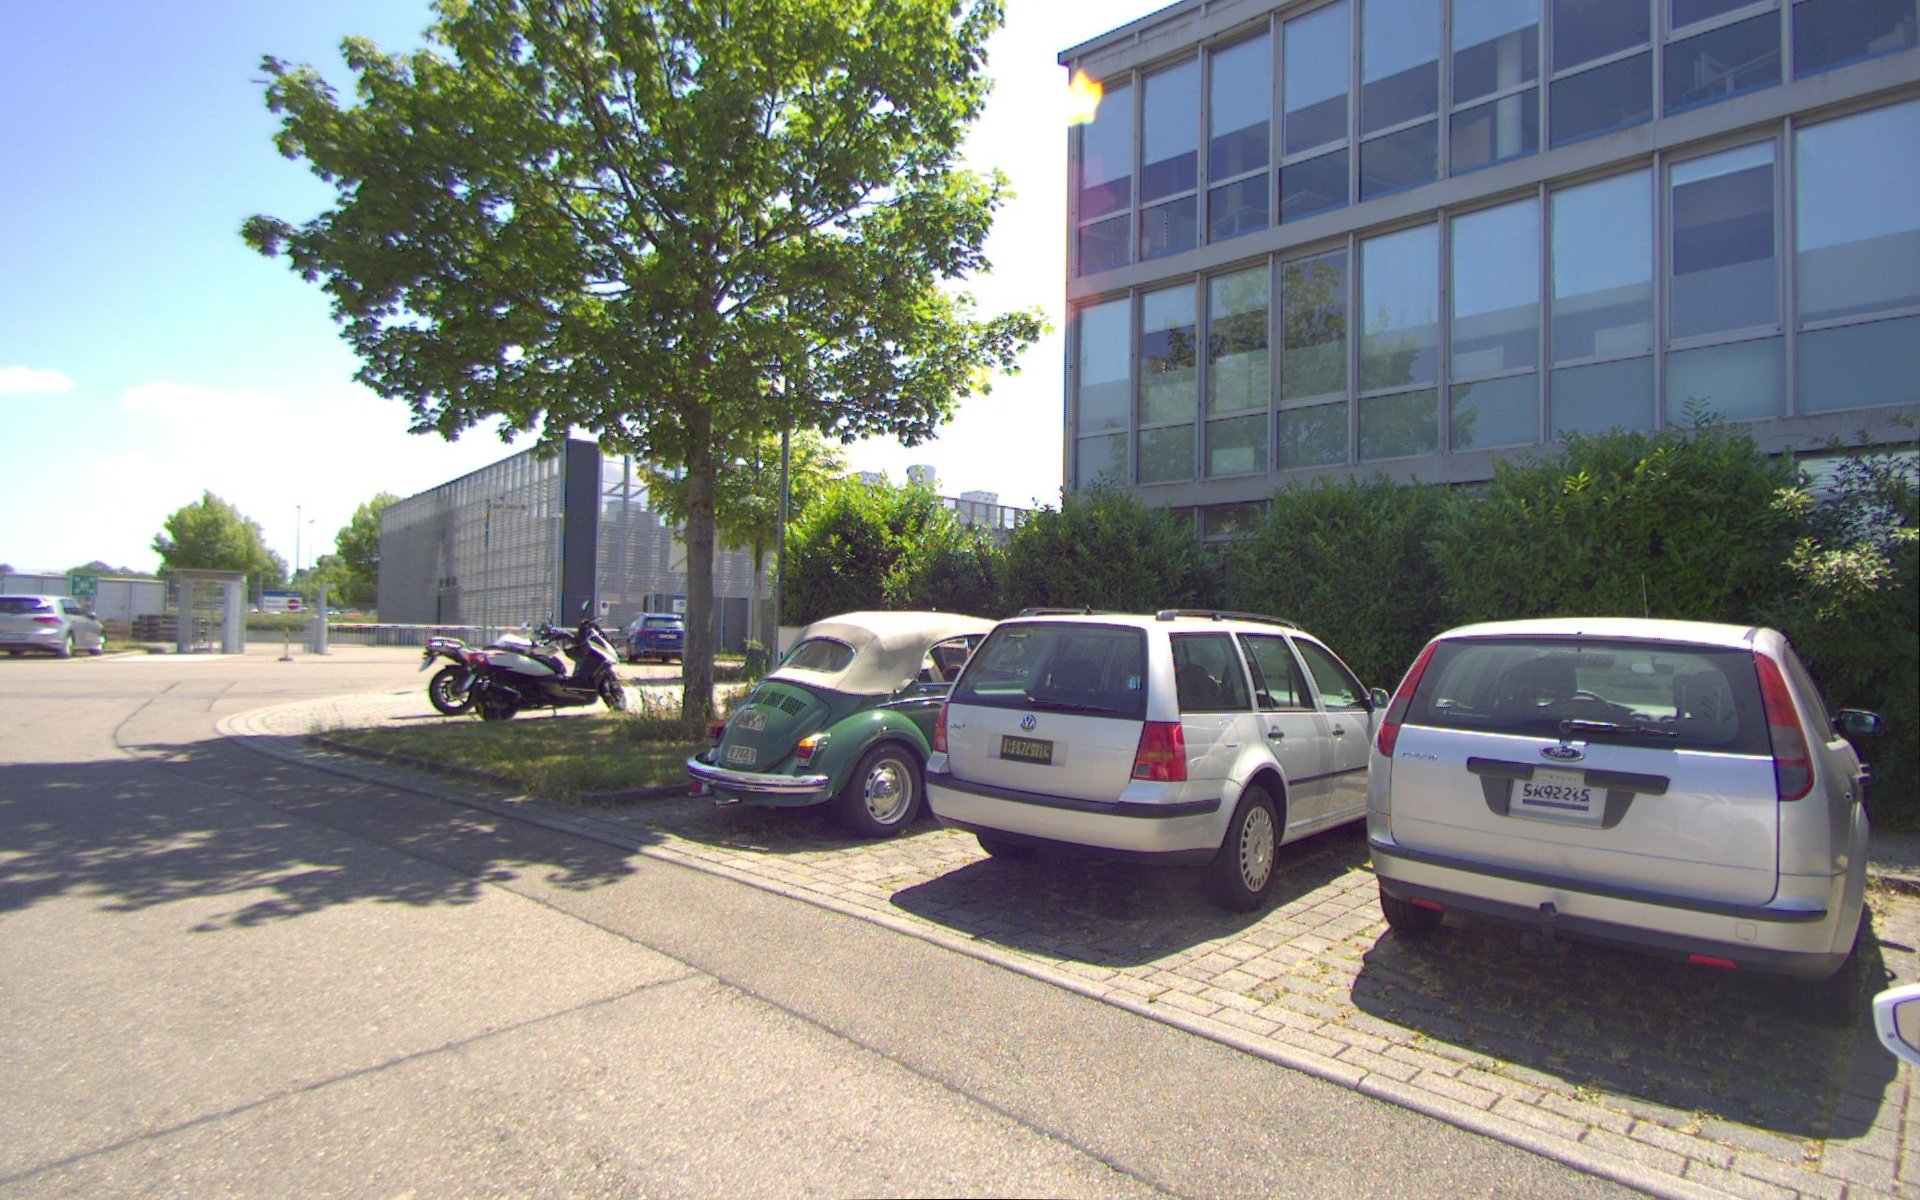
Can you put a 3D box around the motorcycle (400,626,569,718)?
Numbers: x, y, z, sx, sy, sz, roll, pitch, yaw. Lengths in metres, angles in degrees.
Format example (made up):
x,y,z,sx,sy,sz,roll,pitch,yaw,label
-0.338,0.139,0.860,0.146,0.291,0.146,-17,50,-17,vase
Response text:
x,y,z,sx,sy,sz,roll,pitch,yaw,label
-6.226,0.916,13.258,0.477,1.123,1.981,1,-1,39,motorcycle

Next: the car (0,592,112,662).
x,y,z,sx,sy,sz,roll,pitch,yaw,label
-21.921,0.614,24.016,1.632,1.542,3.971,2,-1,-28,car

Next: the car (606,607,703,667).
x,y,z,sx,sy,sz,roll,pitch,yaw,label
-9.046,1.055,29.543,1.975,1.616,3.970,2,-1,-28,car

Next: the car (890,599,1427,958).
x,y,z,sx,sy,sz,roll,pitch,yaw,label
1.500,0.820,6.256,1.628,1.498,3.874,1,-2,40,car

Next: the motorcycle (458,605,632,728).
x,y,z,sx,sy,sz,roll,pitch,yaw,label
-5.084,0.787,12.442,0.477,1.408,1.981,1,-1,39,motorcycle

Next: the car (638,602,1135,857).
x,y,z,sx,sy,sz,roll,pitch,yaw,label
-0.330,0.820,7.843,1.628,1.467,3.874,1,-2,40,car

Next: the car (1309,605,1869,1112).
x,y,z,sx,sy,sz,roll,pitch,yaw,label
3.537,0.853,5.188,1.700,1.498,4.325,0,-2,42,car
